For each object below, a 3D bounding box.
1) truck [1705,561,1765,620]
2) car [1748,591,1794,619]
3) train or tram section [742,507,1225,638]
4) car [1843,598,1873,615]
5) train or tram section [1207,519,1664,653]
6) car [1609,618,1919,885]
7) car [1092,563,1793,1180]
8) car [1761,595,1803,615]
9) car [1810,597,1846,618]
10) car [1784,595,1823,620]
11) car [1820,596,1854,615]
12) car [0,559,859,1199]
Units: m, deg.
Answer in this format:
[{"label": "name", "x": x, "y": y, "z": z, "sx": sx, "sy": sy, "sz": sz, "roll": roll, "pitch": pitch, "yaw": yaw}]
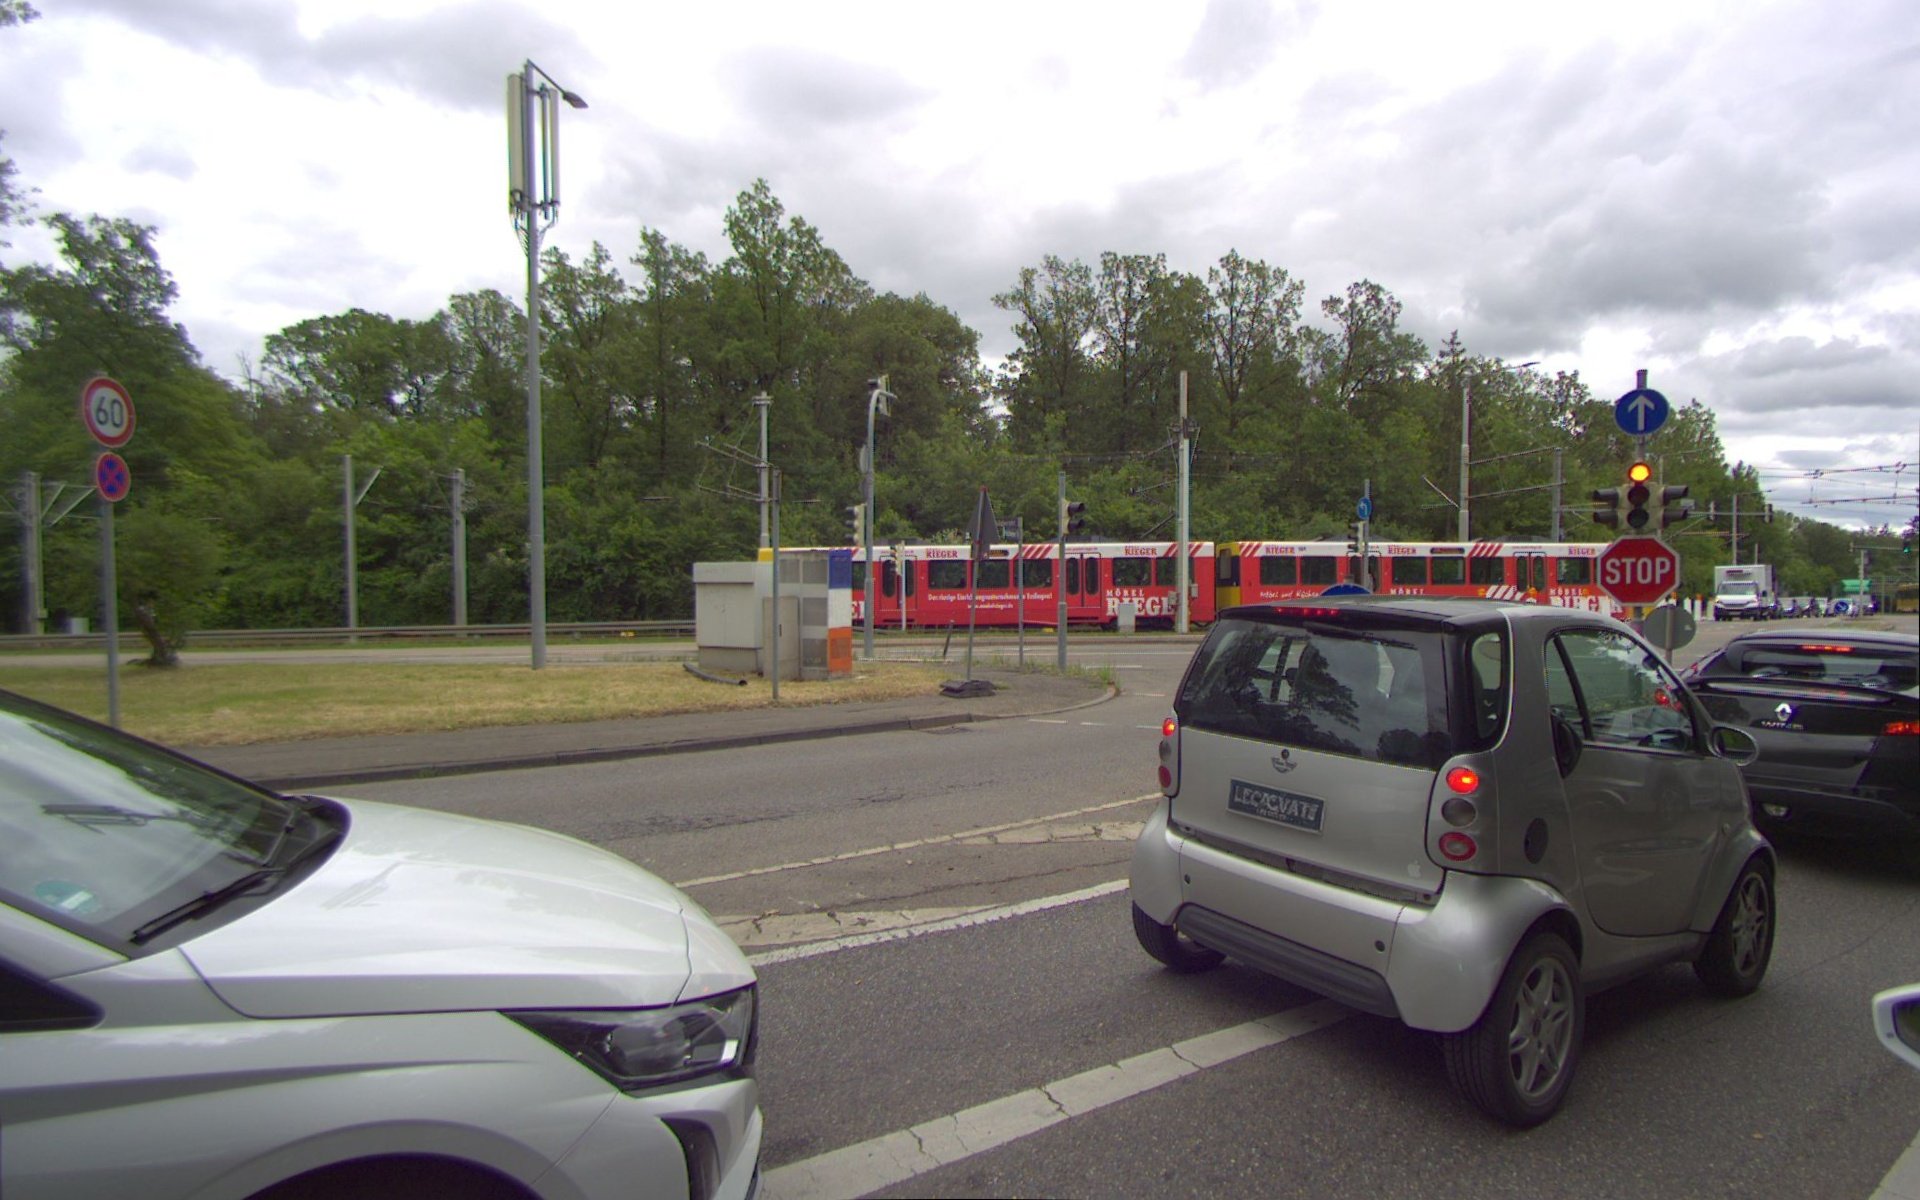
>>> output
[{"label": "truck", "x": 45.118, "y": -0.502, "z": 58.401, "sx": 2.420, "sy": 3.267, "sz": 7.120, "roll": 0, "pitch": 0, "yaw": 41}, {"label": "car", "x": 53.813, "y": 0.332, "z": 66.641, "sx": 1.941, "sy": 1.773, "sz": 4.816, "roll": 1, "pitch": 1, "yaw": 44}, {"label": "train or tram section", "x": 0.884, "y": -1.060, "z": 39.876, "sx": 18.357, "sy": 4.477, "sz": 2.966, "roll": 2, "pitch": 0, "yaw": 1}, {"label": "car", "x": 84.745, "y": 0.624, "z": 94.795, "sx": 1.942, "sy": 1.561, "sz": 4.283, "roll": 1, "pitch": 1, "yaw": 45}, {"label": "train or tram section", "x": 19.451, "y": -0.478, "z": 41.186, "sx": 18.204, "sy": 4.712, "sz": 2.952, "roll": 2, "pitch": 0, "yaw": -8}, {"label": "car", "x": 6.052, "y": 0.837, "z": 6.926, "sx": 3.448, "sy": 1.380, "sz": 1.759, "roll": 0, "pitch": 0, "yaw": -41}, {"label": "car", "x": 2.005, "y": 0.716, "z": 4.013, "sx": 2.701, "sy": 1.607, "sz": 1.447, "roll": 0, "pitch": 0, "yaw": -36}, {"label": "car", "x": 59.491, "y": 0.367, "z": 72.673, "sx": 1.942, "sy": 1.380, "sz": 4.660, "roll": 1, "pitch": 1, "yaw": 45}, {"label": "car", "x": 70.697, "y": 0.614, "z": 81.757, "sx": 1.942, "sy": 1.628, "sz": 4.283, "roll": 1, "pitch": 1, "yaw": 45}, {"label": "car", "x": 65.473, "y": 0.581, "z": 77.948, "sx": 1.942, "sy": 1.869, "sz": 4.660, "roll": 1, "pitch": 1, "yaw": 45}, {"label": "car", "x": 74.895, "y": 0.417, "z": 85.742, "sx": 1.942, "sy": 1.562, "sz": 4.368, "roll": 1, "pitch": 1, "yaw": 45}, {"label": "car", "x": -2.330, "y": 0.700, "z": 1.608, "sx": 4.022, "sy": 1.499, "sz": 1.643, "roll": 0, "pitch": 0, "yaw": -28}]
